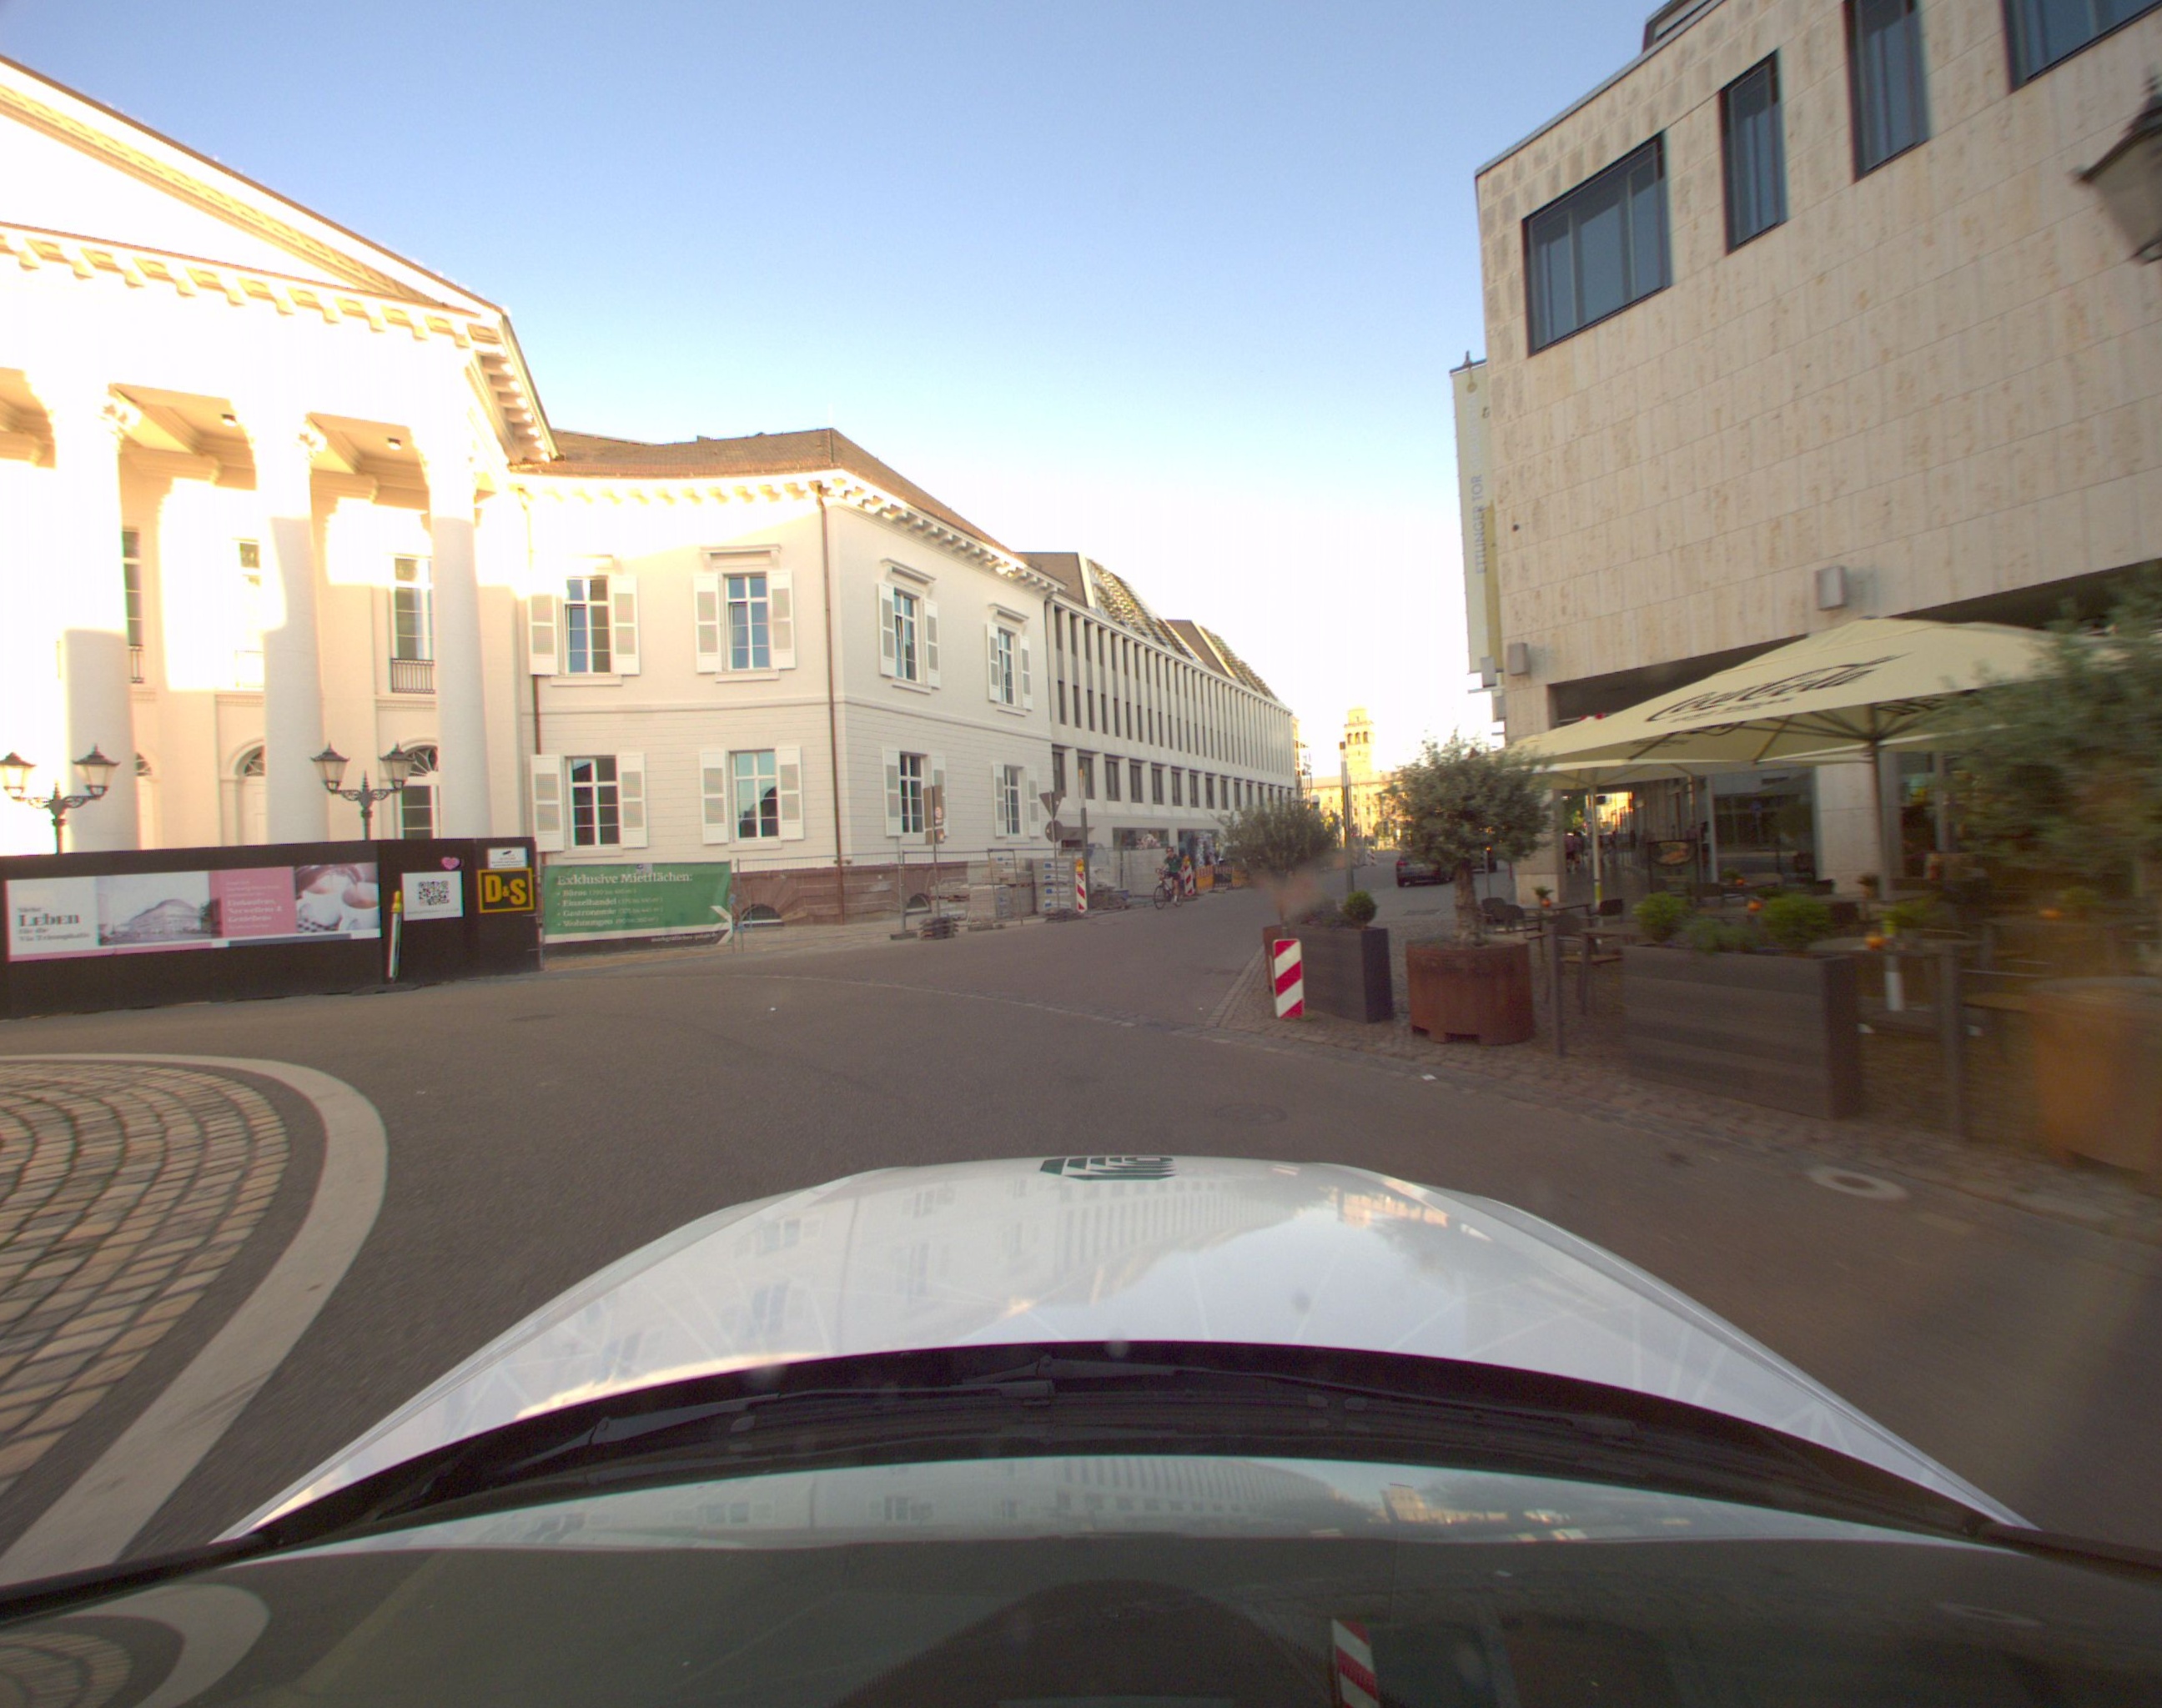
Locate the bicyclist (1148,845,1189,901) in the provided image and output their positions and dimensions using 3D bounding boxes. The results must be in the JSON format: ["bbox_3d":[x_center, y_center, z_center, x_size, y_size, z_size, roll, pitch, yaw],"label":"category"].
[{"bbox_3d":[2.644,0.557,24.420,0.789,1.603,1.238,-3,0,25],"label":"bicyclist"}]

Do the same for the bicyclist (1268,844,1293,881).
[{"bbox_3d":[8.694,0.369,35.483,0.789,1.532,0.980,-3,-1,26],"label":"bicyclist"}]

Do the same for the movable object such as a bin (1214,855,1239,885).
[{"bbox_3d":[7.634,0.840,42.631,1.035,1.466,1.400,-3,0,18],"label":"movable object such as a bin"}]

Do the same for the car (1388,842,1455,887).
[{"bbox_3d":[13.475,0.363,32.085,1.778,1.490,4.219,-7,-2,30],"label":"car"}]

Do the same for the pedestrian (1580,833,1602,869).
[{"bbox_3d":[19.925,-0.104,31.824,0.627,1.345,0.780,-3,1,29],"label":"pedestrian"}]

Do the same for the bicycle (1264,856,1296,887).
[{"bbox_3d":[8.683,0.751,35.462,0.789,1.217,2.247,-3,0,27],"label":"bicycle"}]

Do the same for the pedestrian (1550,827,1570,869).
[{"bbox_3d":[19.666,-0.240,33.467,0.585,1.698,0.700,-3,-1,27],"label":"pedestrian"}]

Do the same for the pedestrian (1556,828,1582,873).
[{"bbox_3d":[18.907,-0.146,31.592,0.757,1.681,0.882,-3,1,29],"label":"pedestrian"}]

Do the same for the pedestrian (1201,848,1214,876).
[{"bbox_3d":[7.466,0.468,48.191,0.537,1.577,0.583,-3,-1,27],"label":"pedestrian"}]

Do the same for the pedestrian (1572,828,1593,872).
[{"bbox_3d":[20.828,-0.181,33.851,0.627,1.774,0.780,-3,1,29],"label":"pedestrian"}]

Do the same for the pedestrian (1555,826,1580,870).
[{"bbox_3d":[19.402,-0.252,32.494,0.757,1.681,0.882,-3,1,29],"label":"pedestrian"}]

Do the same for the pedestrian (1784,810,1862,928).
[{"bbox_3d":[11.420,0.215,12.535,0.673,1.745,0.710,-3,-1,-38],"label":"pedestrian"}]

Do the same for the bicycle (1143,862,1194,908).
[{"bbox_3d":[2.657,0.904,24.410,0.789,1.217,2.246,-3,0,25],"label":"bicycle"}]

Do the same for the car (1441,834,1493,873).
[{"bbox_3d":[18.512,-0.043,38.969,1.751,1.638,4.083,-7,-2,30],"label":"car"}]

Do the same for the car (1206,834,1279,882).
[{"bbox_3d":[9.297,0.165,46.433,2.152,2.470,6.037,-3,0,30],"label":"car"}]

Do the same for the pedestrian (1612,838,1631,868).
[{"bbox_3d":[20.940,-0.053,31.557,0.482,1.097,0.605,-3,1,29],"label":"pedestrian"}]

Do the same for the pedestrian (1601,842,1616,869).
[{"bbox_3d":[20.329,0.045,31.403,0.416,0.986,0.529,-3,1,29],"label":"pedestrian"}]
